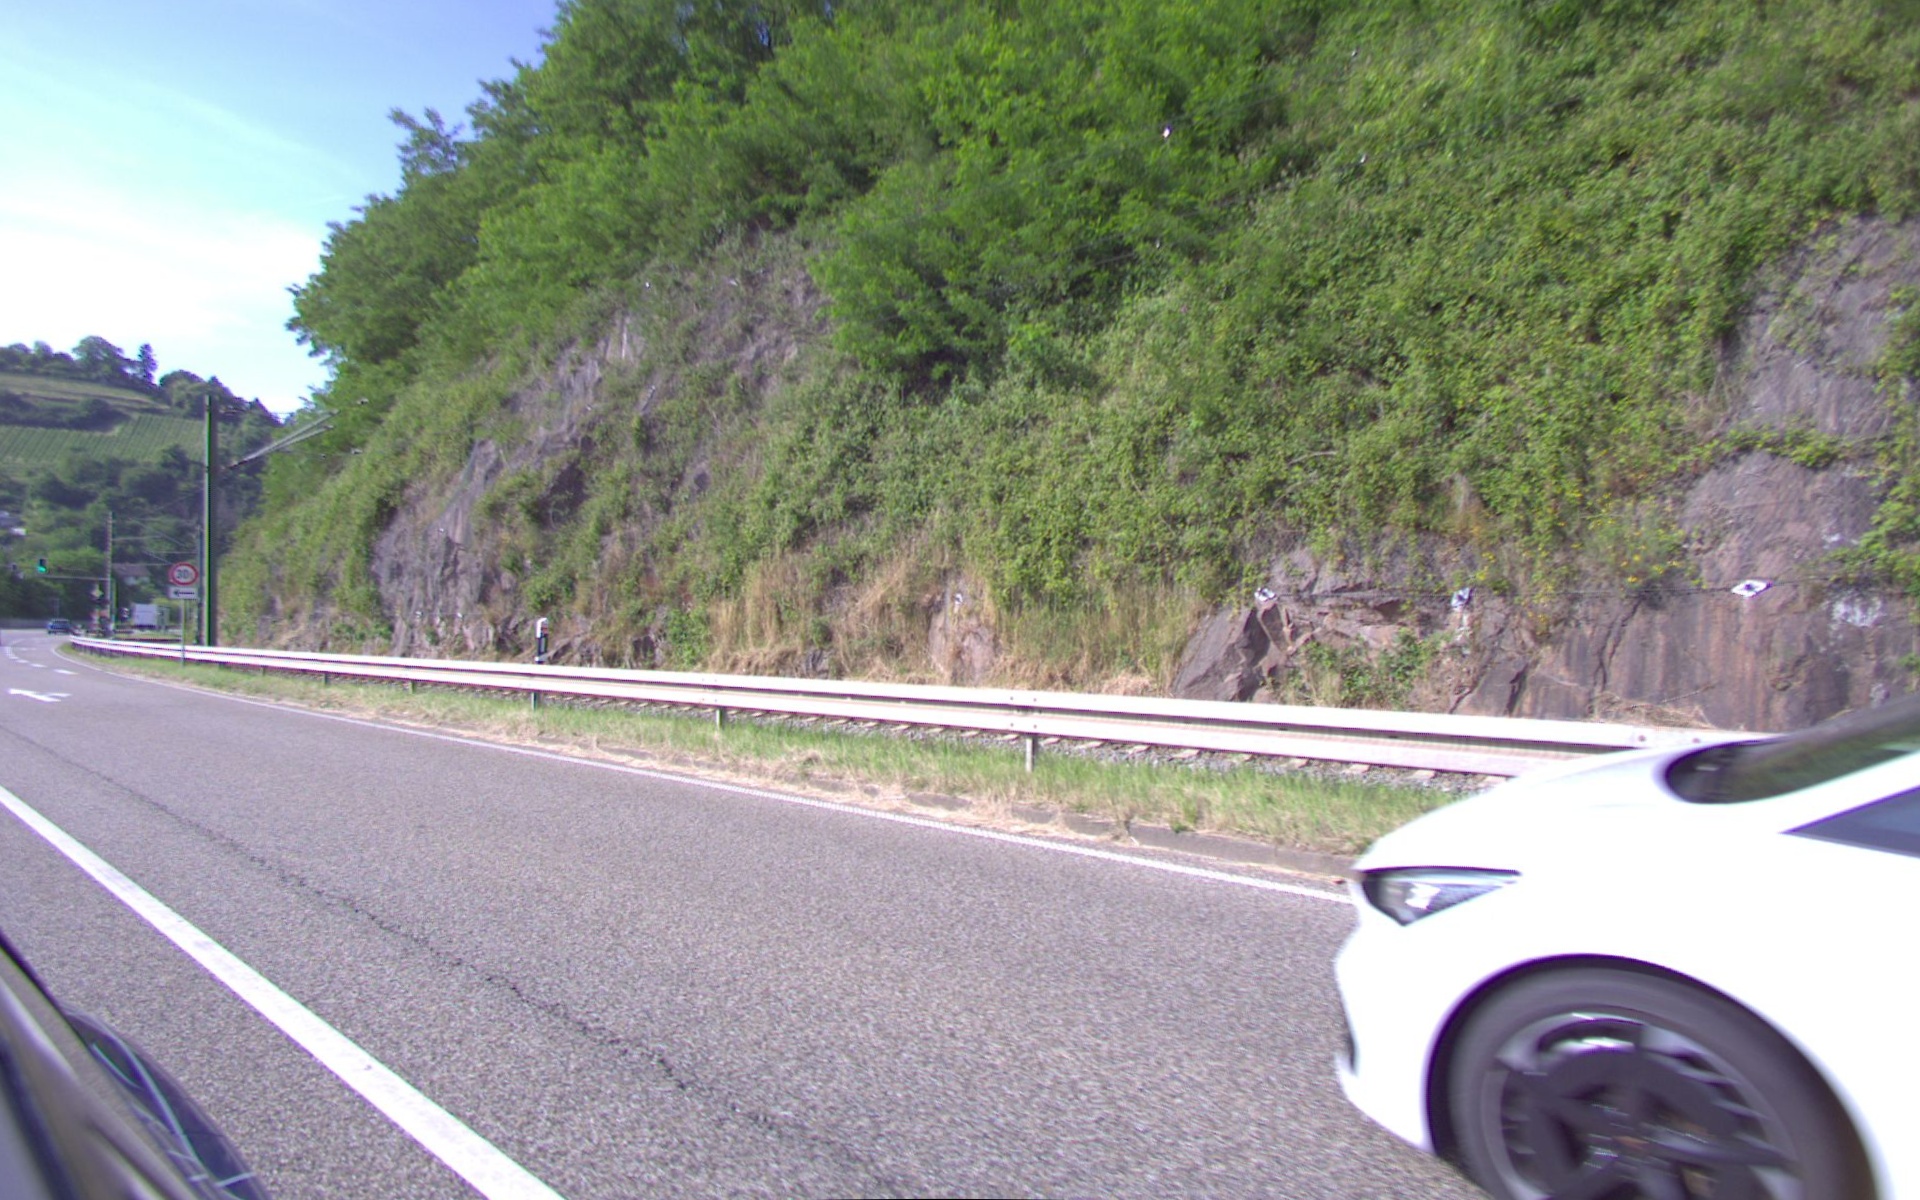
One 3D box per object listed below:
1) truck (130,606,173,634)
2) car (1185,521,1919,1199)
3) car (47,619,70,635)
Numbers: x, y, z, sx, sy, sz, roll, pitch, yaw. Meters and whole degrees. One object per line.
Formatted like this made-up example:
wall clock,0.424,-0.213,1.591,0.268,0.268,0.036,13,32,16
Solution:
truck,-114.112,2.865,142.923,2.856,3.828,8.922,2,-3,-27
car,2.934,0.618,1.855,4.600,1.556,1.828,-1,-1,40
car,-93.768,2.785,105.327,1.697,1.582,4.141,0,0,-40
